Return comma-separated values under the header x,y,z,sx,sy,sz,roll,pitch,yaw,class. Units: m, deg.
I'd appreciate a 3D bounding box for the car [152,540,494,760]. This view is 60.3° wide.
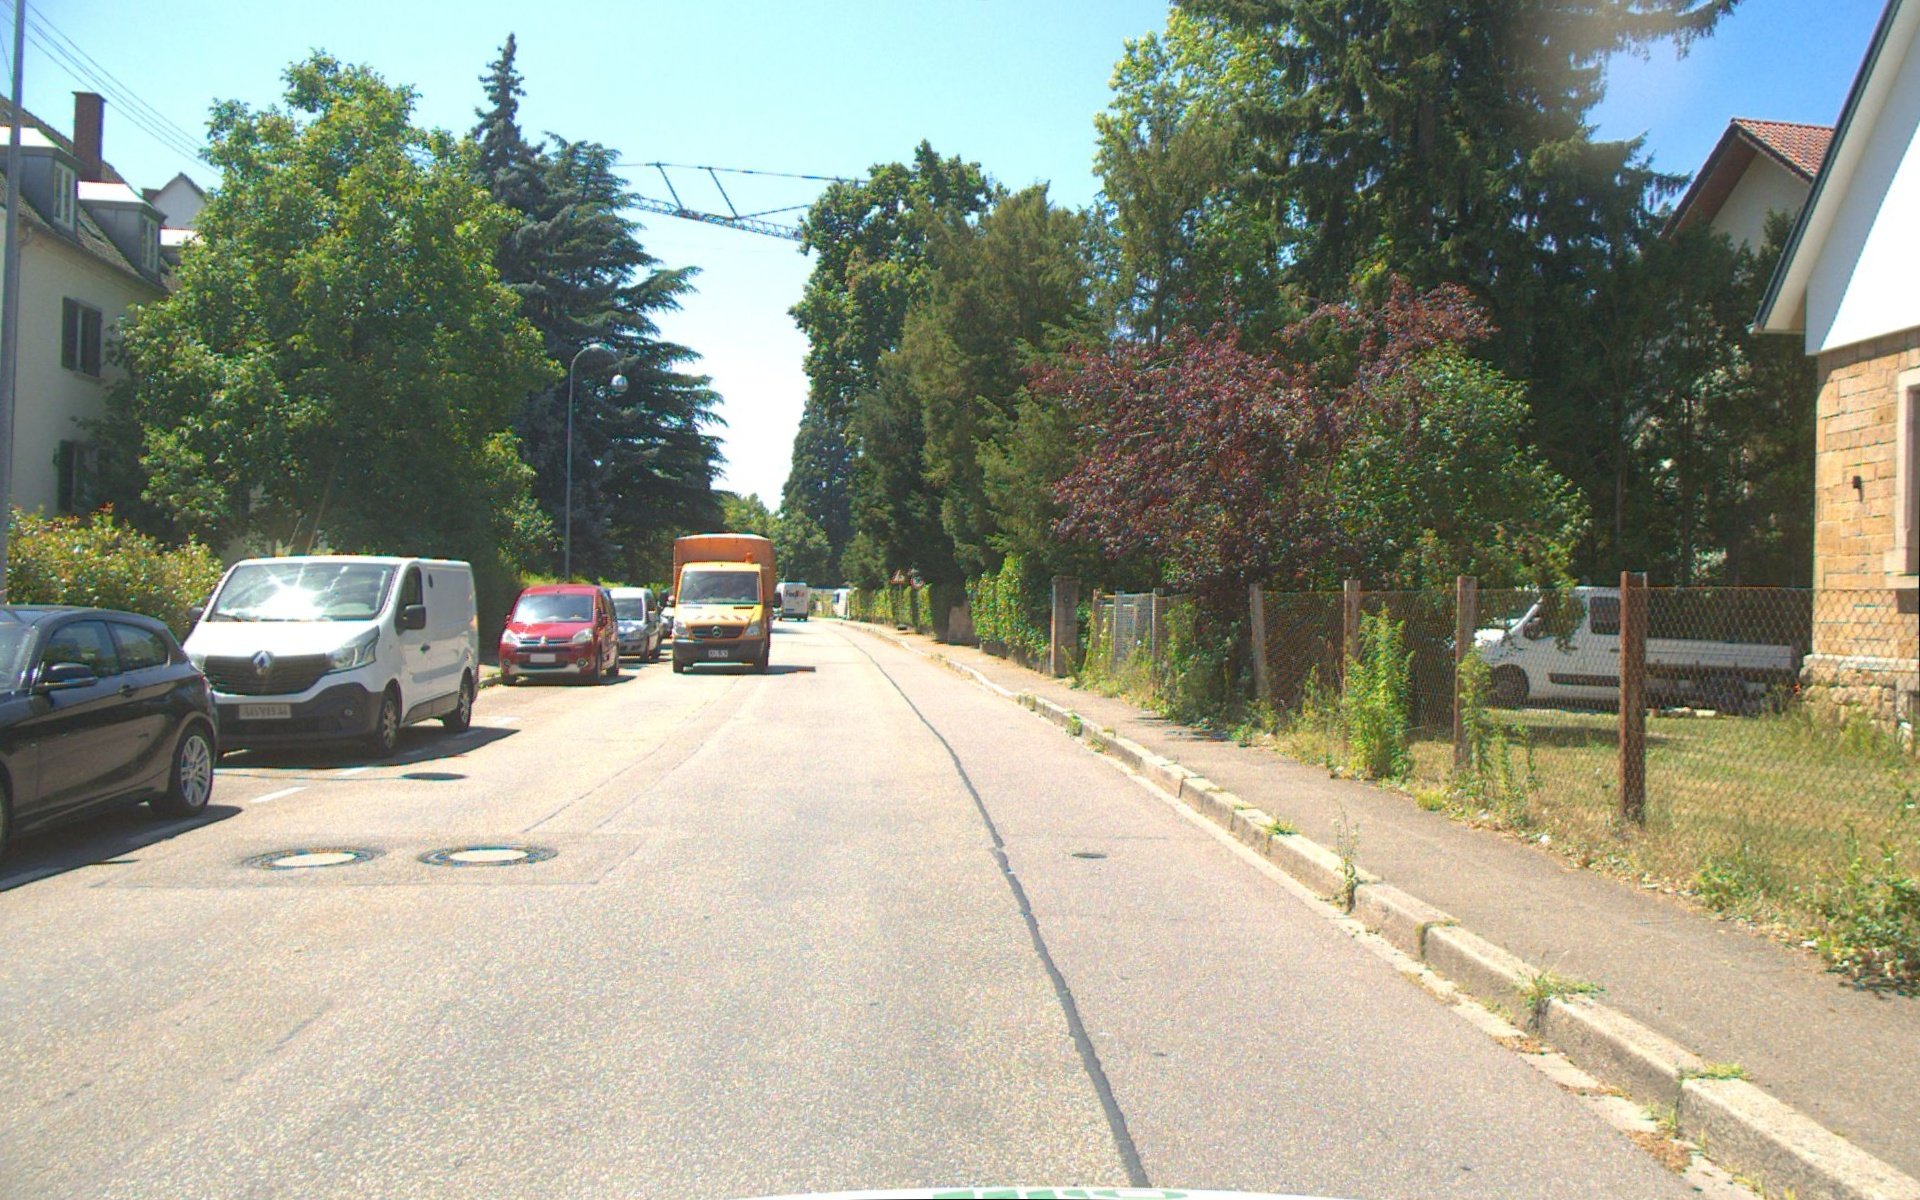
x,y,z,sx,sy,sz,roll,pitch,yaw,class
-6.324,0.471,17.112,1.849,1.914,4.976,1,-1,-4,car

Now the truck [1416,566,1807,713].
x,y,z,sx,sy,sz,roll,pitch,yaw,class
11.944,0.707,30.477,6.487,2.205,1.976,4,0,-8,truck

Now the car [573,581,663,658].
x,y,z,sx,sy,sz,roll,pitch,yaw,class
-8.367,0.456,40.768,1.615,1.782,4.350,0,0,-4,car

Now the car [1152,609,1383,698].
x,y,z,sx,sy,sz,roll,pitch,yaw,class
5.514,0.943,29.941,3.784,1.404,1.765,2,0,-2,car

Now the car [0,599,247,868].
x,y,z,sx,sy,sz,roll,pitch,yaw,class
-5.898,0.703,9.801,1.664,1.408,4.233,0,0,-2,car

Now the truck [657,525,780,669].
x,y,z,sx,sy,sz,roll,pitch,yaw,class
-5.200,-0.050,36.360,2.327,2.879,5.652,1,0,-5,truck

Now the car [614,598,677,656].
x,y,z,sx,sy,sz,roll,pitch,yaw,class
-8.631,0.727,45.567,1.384,1.530,2.837,-1,0,-4,car

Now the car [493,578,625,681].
x,y,z,sx,sy,sz,roll,pitch,yaw,class
-7.326,0.512,30.617,1.723,1.757,4.453,0,0,-5,car

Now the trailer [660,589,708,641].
x,y,z,sx,sy,sz,roll,pitch,yaw,class
-11.490,0.608,69.051,1.813,2.076,4.156,0,0,-8,trailer

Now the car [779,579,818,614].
x,y,z,sx,sy,sz,roll,pitch,yaw,class
-11.210,-0.247,114.493,2.106,2.356,4.837,0,0,-13,car

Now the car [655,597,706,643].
x,y,z,sx,sy,sz,roll,pitch,yaw,class
-10.892,0.760,64.650,1.816,1.700,4.704,0,0,-8,car
